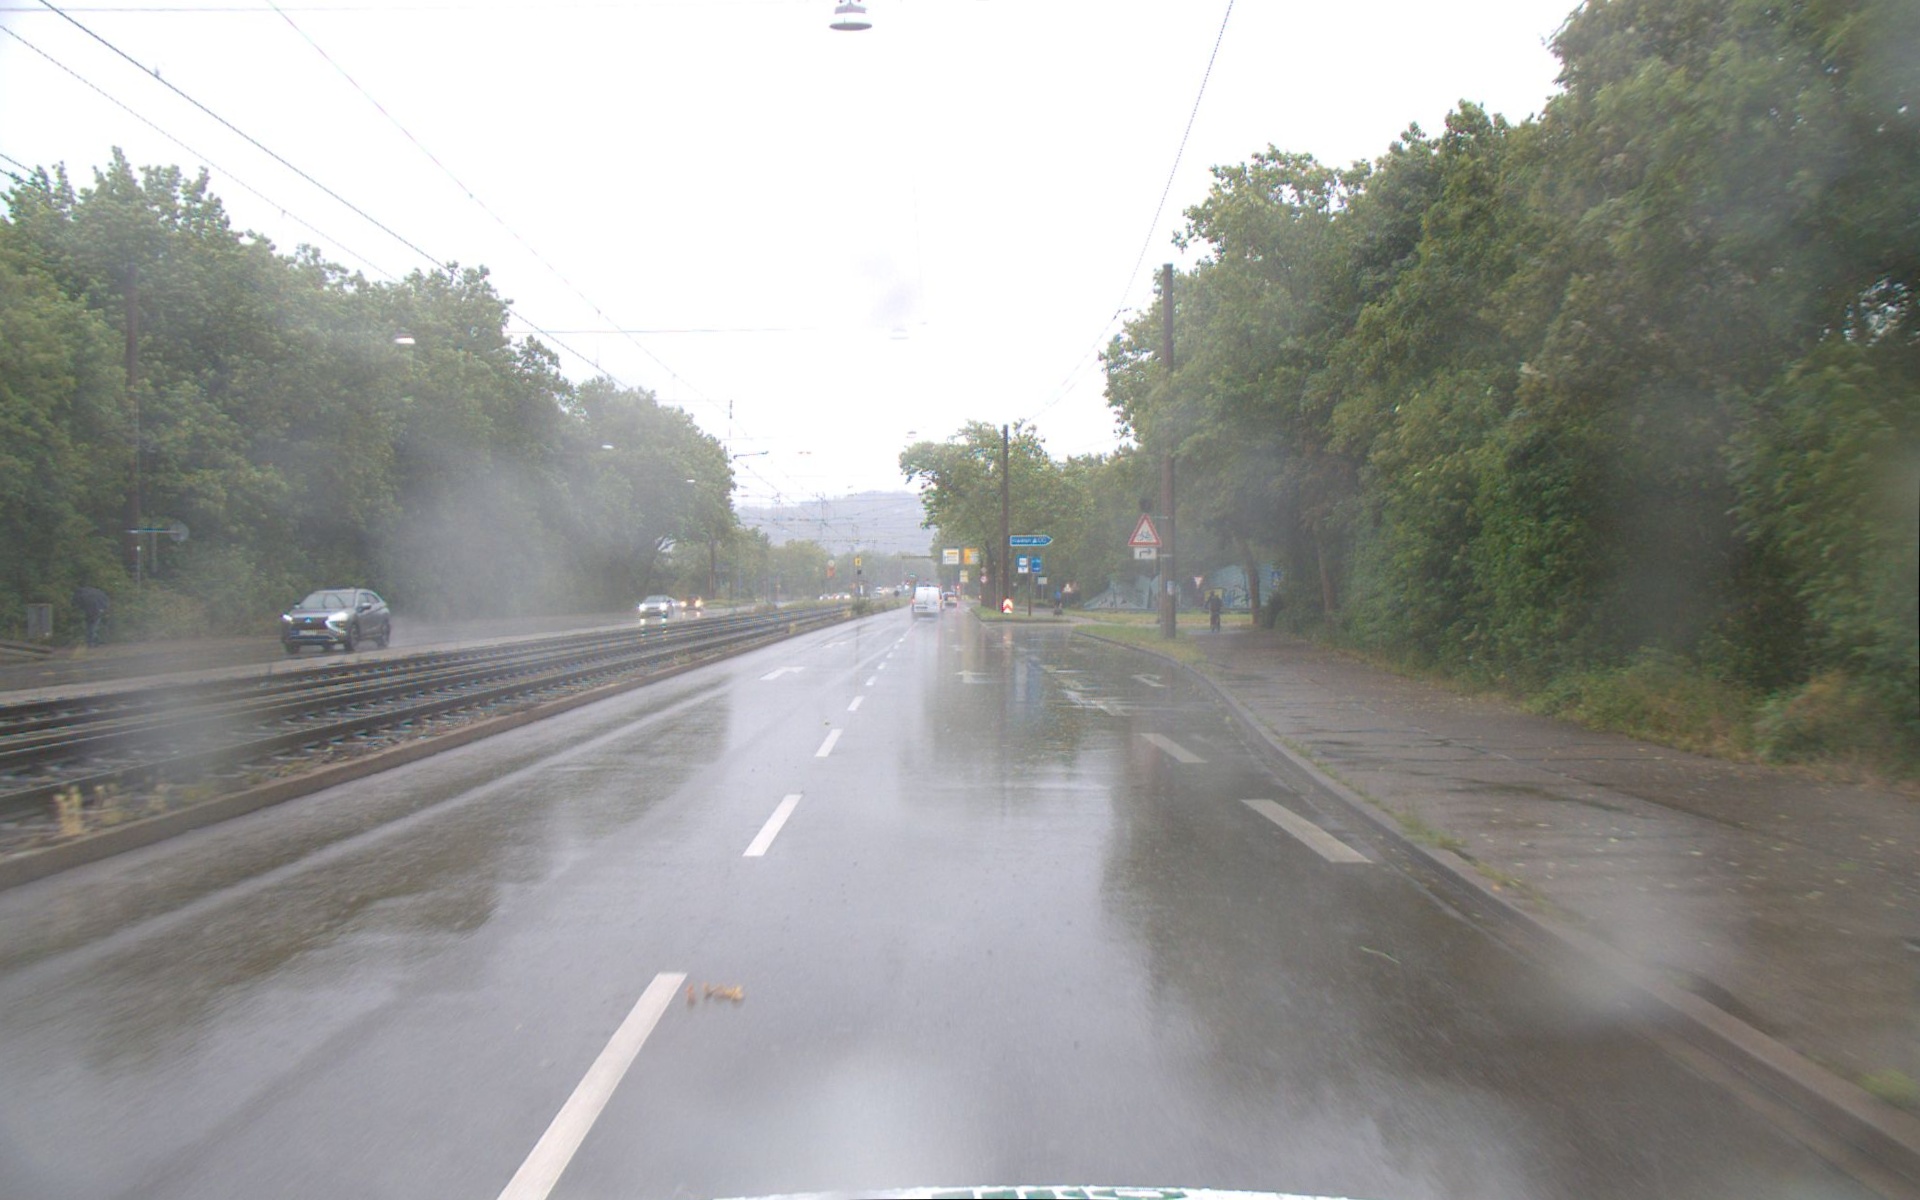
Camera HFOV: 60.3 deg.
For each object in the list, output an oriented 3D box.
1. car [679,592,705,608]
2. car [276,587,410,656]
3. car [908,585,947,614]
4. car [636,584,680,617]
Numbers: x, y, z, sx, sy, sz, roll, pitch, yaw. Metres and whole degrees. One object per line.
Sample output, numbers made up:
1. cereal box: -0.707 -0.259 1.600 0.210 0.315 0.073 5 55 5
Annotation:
1. car: -23.621 -0.020 145.846 1.736 1.353 4.378 0 0 -2
2. car: -16.804 0.530 45.306 1.953 1.701 4.871 0 1 -2
3. car: -1.738 -0.048 89.972 2.035 1.445 3.999 -2 1 -1
4. car: -18.775 0.008 103.053 1.954 1.813 3.999 4 1 -2
